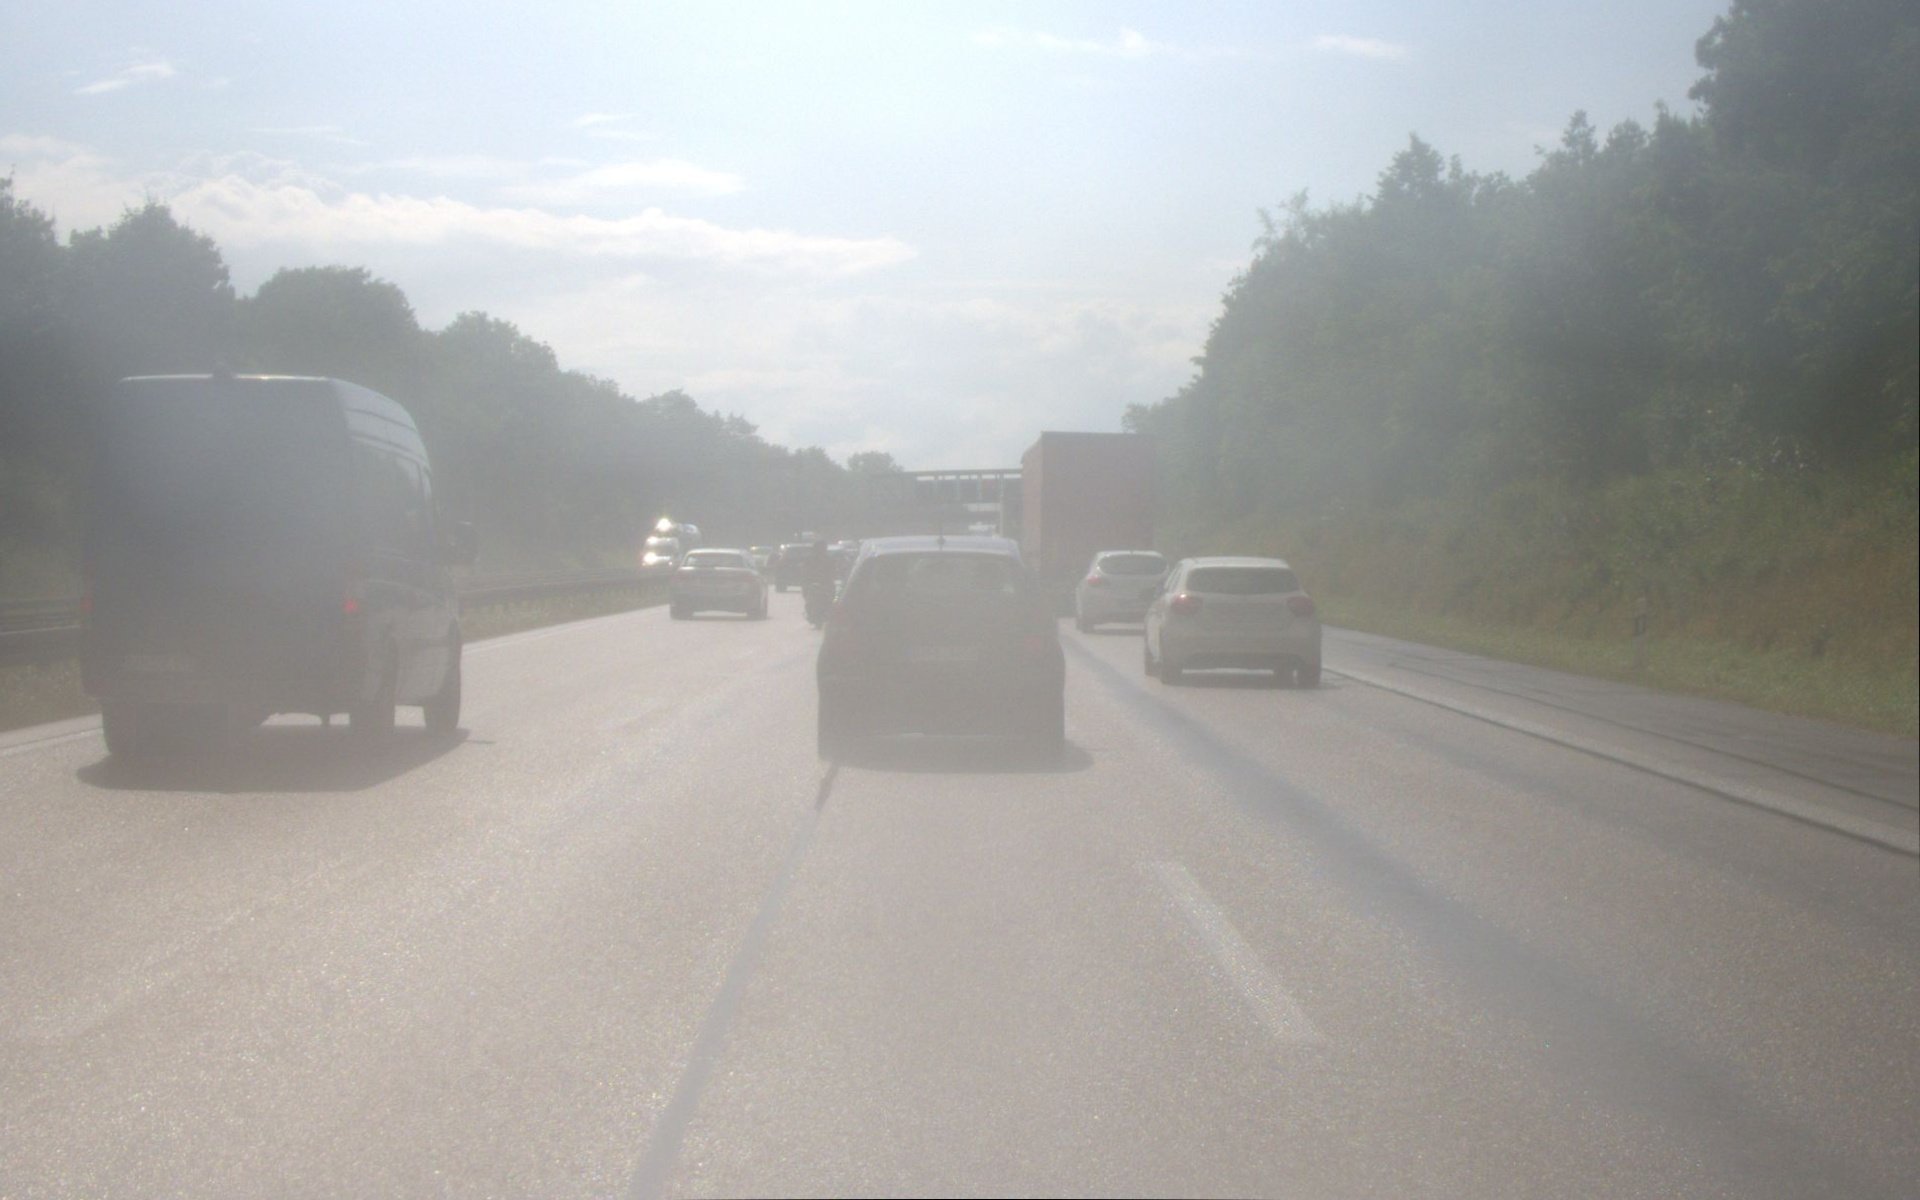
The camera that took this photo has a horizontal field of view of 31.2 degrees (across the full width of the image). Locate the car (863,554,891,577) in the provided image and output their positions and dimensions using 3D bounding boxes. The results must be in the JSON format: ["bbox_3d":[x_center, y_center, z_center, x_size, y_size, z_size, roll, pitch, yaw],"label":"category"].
[{"bbox_3d":[-4.679,-1.960,194.157,1.549,1.262,3.485,1,1,-1],"label":"car"}]

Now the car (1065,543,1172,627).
[{"bbox_3d":[2.825,-0.288,61.956,1.680,1.437,3.905,1,1,-1],"label":"car"}]

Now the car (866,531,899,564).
[{"bbox_3d":[-4.864,-3.285,215.748,1.993,2.007,4.000,-1,1,-1],"label":"car"}]

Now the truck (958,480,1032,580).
[{"bbox_3d":[1.656,-3.237,161.037,3.256,4.464,12.421,1,1,1],"label":"truck"}]

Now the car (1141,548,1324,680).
[{"bbox_3d":[3.081,0.130,39.570,1.692,1.420,4.220,1,1,-1],"label":"car"}]

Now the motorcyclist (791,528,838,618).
[{"bbox_3d":[-2.645,-0.496,62.634,0.801,1.627,1.013,1,1,-1],"label":"motorcyclist"}]

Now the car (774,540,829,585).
[{"bbox_3d":[-5.356,-1.270,116.277,1.751,1.452,3.390,1,1,-1],"label":"car"}]

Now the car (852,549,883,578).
[{"bbox_3d":[-4.586,-1.827,171.105,1.485,1.385,3.199,1,1,-1],"label":"car"}]

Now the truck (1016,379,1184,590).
[{"bbox_3d":[3.277,-2.691,85.464,3.650,4.704,16.779,1,1,1],"label":"truck"}]

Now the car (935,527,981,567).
[{"bbox_3d":[-0.075,-1.875,120.994,1.552,1.378,3.210,1,1,-1],"label":"car"}]

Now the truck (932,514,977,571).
[{"bbox_3d":[-0.293,-2.942,176.764,2.192,2.865,4.850,1,1,-1],"label":"truck"}]

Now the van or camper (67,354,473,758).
[{"bbox_3d":[-4.971,-0.325,25.558,1.993,2.659,5.385,1,1,-1],"label":"van or camper"}]

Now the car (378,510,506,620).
[{"bbox_3d":[-11.991,-0.812,79.992,2.183,2.444,5.748,1,1,-1],"label":"car"}]

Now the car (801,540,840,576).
[{"bbox_3d":[-5.595,-1.690,138.299,1.460,1.389,3.312,1,1,-1],"label":"car"}]

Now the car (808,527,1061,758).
[{"bbox_3d":[-0.202,0.272,25.281,1.717,1.562,3.485,1,1,-1],"label":"car"}]

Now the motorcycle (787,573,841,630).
[{"bbox_3d":[-2.650,0.012,62.684,0.890,0.997,2.896,1,1,-1],"label":"motorcycle"}]

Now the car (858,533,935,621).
[{"bbox_3d":[-1.302,-0.483,70.971,1.531,1.740,3.485,1,1,-1],"label":"car"}]

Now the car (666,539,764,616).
[{"bbox_3d":[-5.106,-0.476,71.957,1.854,1.546,3.485,1,1,-1],"label":"car"}]
